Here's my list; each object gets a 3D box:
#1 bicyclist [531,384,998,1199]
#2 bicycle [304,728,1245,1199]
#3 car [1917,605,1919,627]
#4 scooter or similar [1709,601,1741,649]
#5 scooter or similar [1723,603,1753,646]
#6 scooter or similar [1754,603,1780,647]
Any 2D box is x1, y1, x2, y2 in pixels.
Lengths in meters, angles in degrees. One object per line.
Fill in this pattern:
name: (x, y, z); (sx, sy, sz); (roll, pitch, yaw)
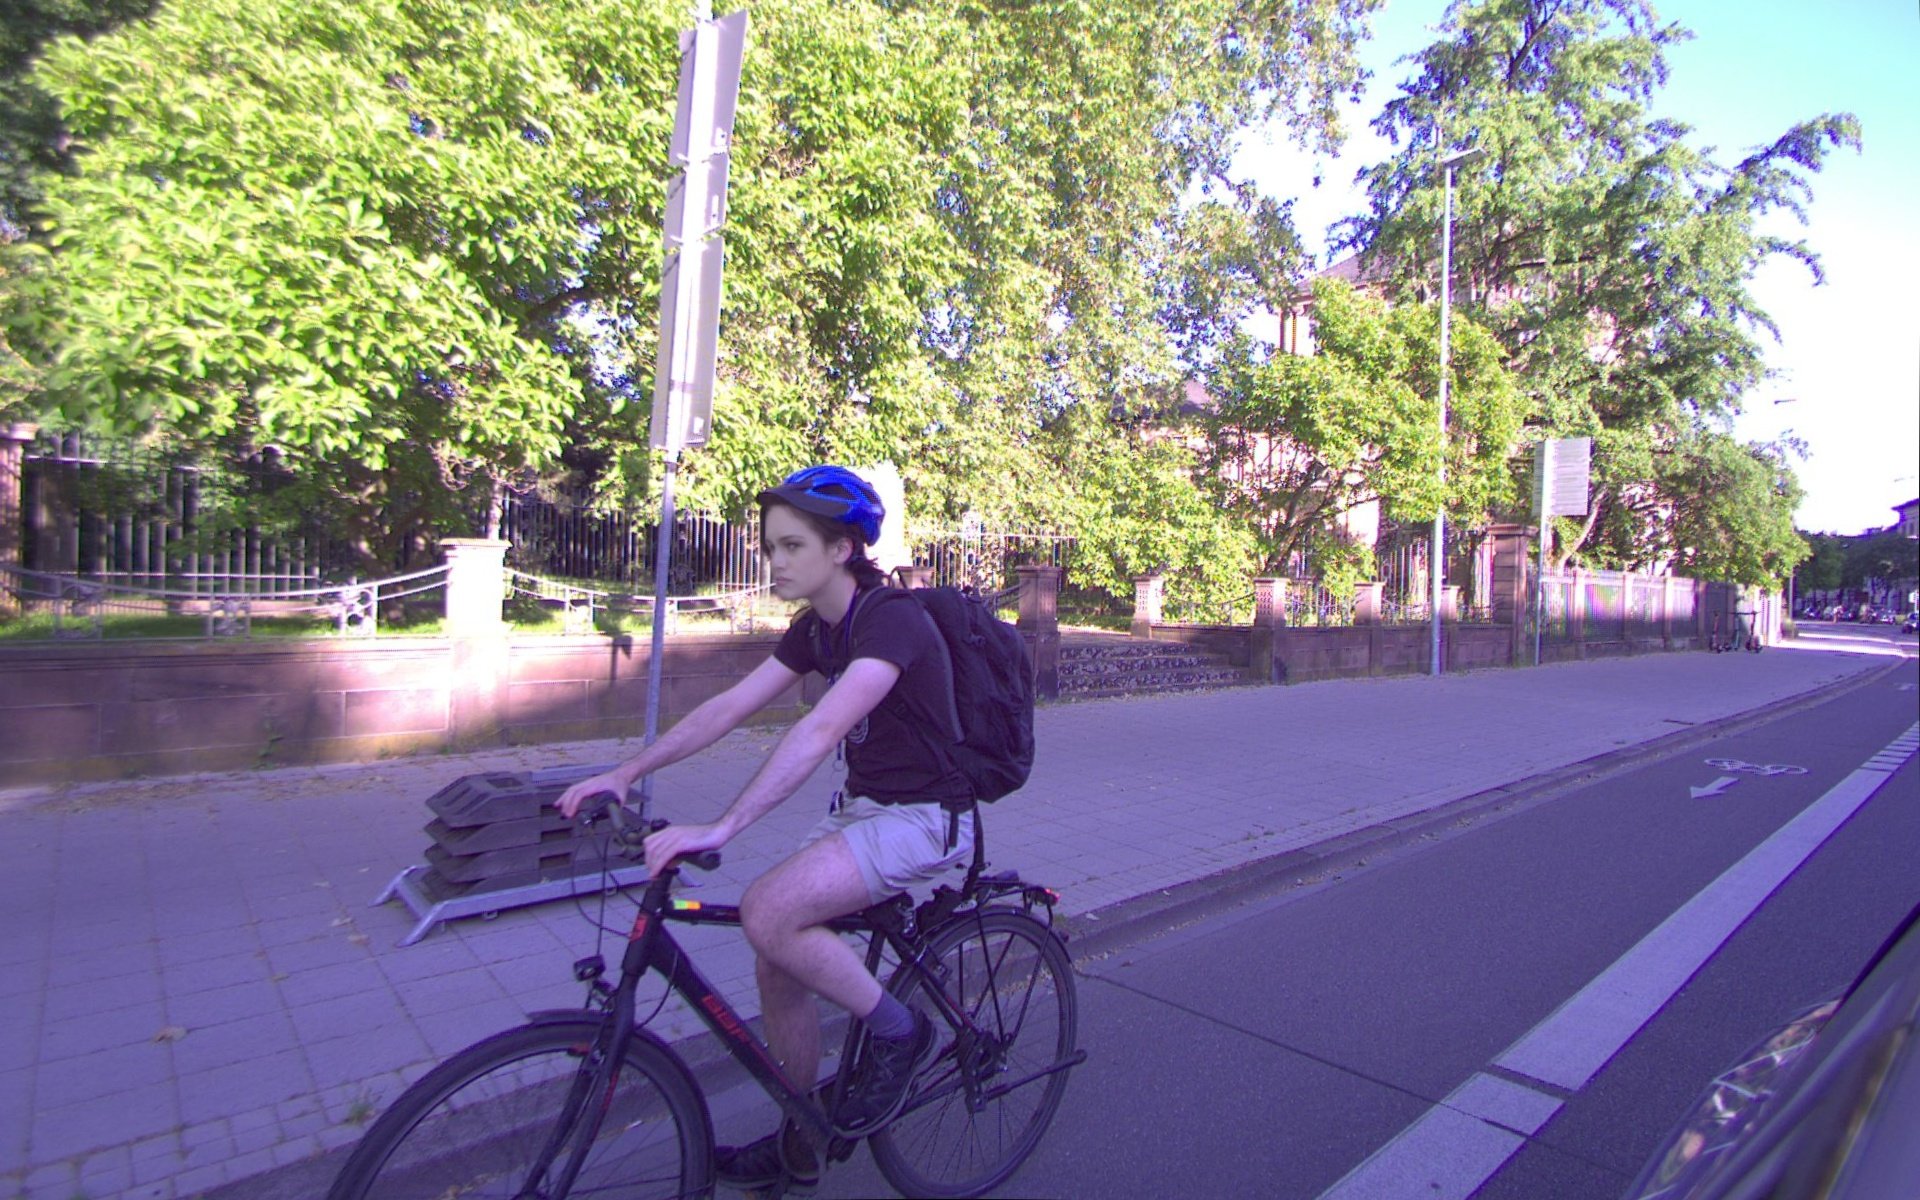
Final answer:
bicyclist: (-0.407, 0.464, 2.106); (0.708, 1.622, 0.666); (1, -1, -42)
bicycle: (-0.214, 0.915, 2.279); (2.045, 1.022, 0.669); (1, 0, -42)
car: (65.582, 1.078, 67.961); (1.704, 1.422, 4.199); (3, 2, 42)
scooter or similar: (21.488, 0.690, 28.459); (0.572, 1.269, 1.470); (2, 1, 33)
scooter or similar: (22.838, 0.710, 29.681); (0.574, 1.199, 1.465); (2, 1, 41)
scooter or similar: (23.938, 0.721, 30.029); (0.514, 1.255, 1.502); (2, 1, 37)
